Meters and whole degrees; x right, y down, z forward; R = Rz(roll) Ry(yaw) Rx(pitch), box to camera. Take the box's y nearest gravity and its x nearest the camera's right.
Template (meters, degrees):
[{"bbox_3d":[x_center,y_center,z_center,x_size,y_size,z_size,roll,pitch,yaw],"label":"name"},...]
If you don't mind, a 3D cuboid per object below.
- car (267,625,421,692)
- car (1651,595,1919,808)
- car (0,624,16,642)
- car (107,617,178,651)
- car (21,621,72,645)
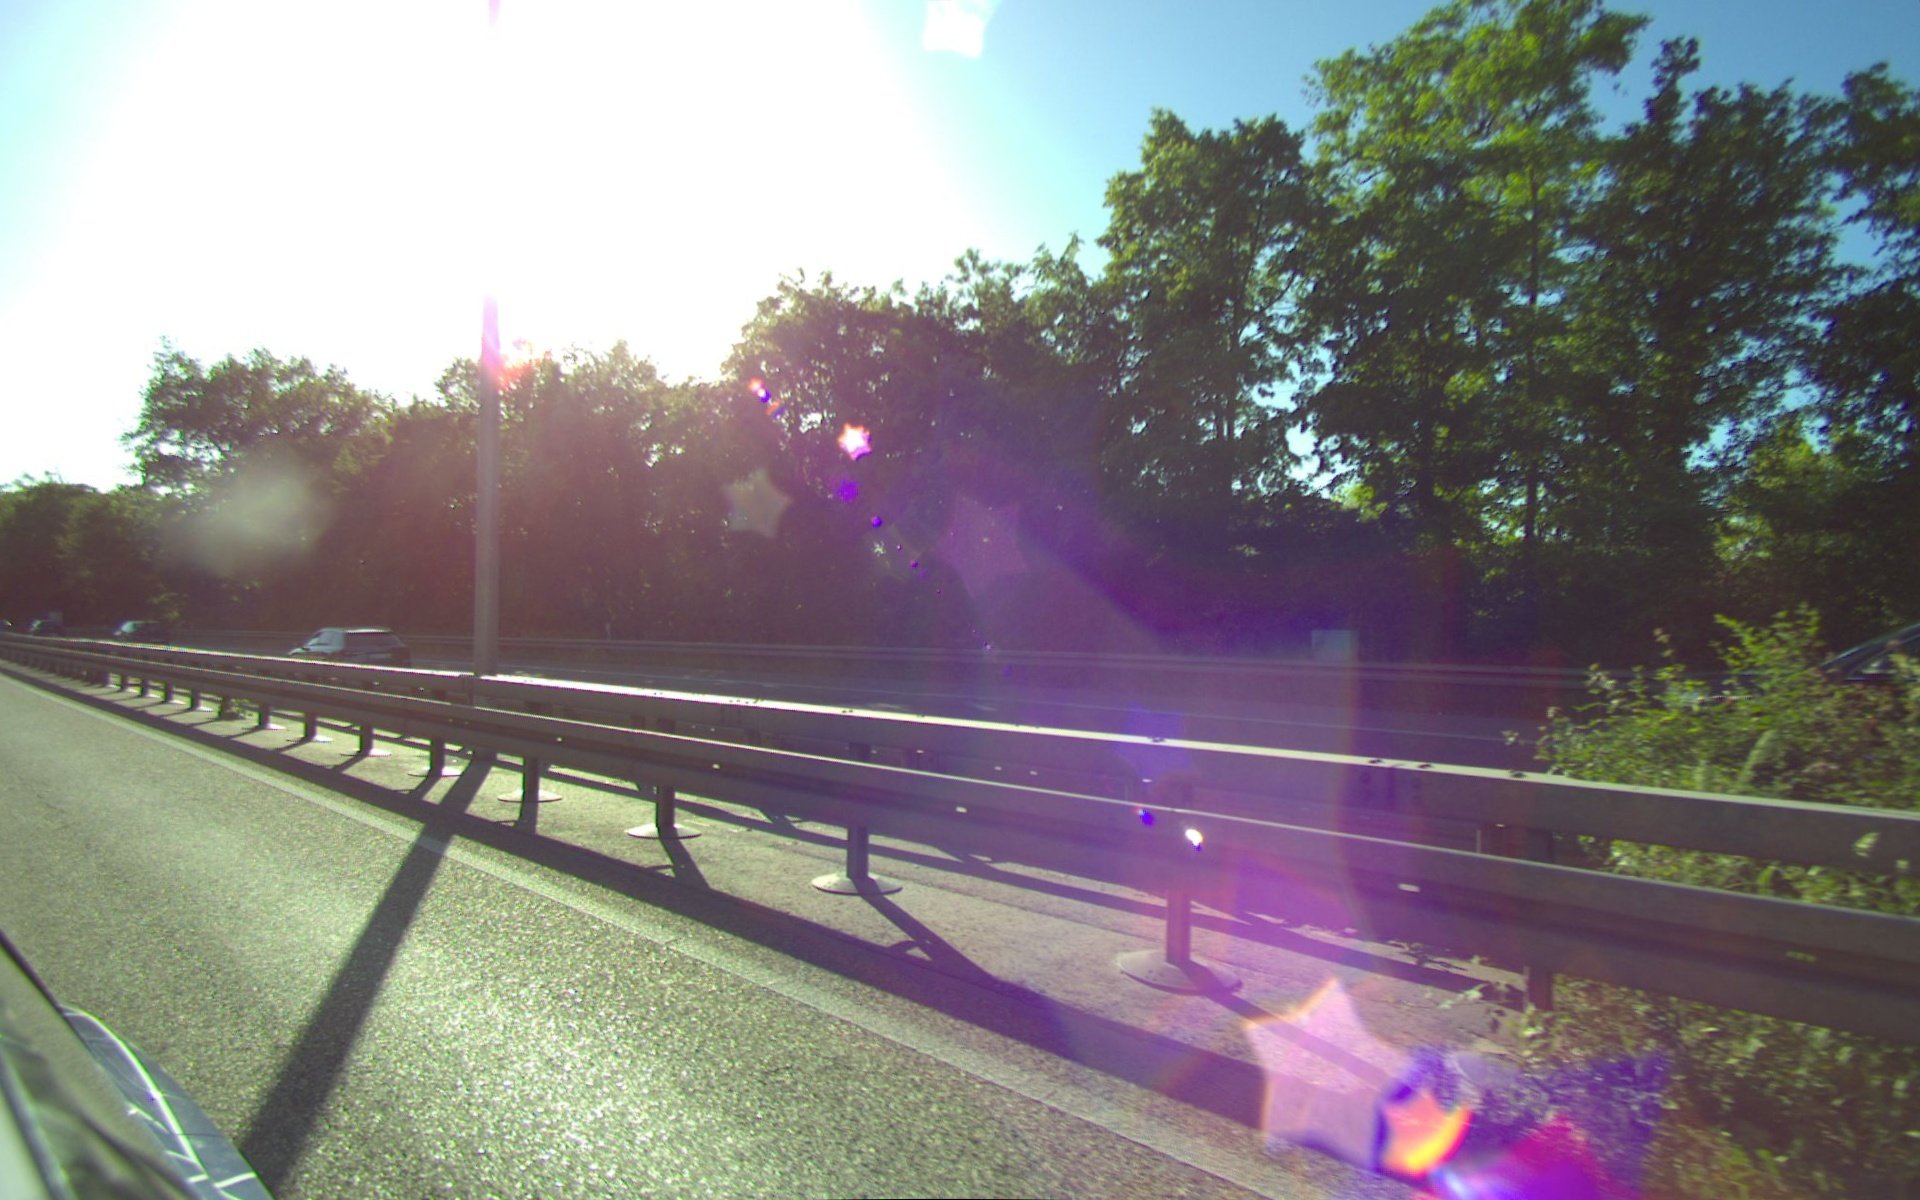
[{"bbox_3d":[-15.501,1.390,25.361,4.874,1.478,1.940,-1,-1,41],"label":"car"},{"bbox_3d":[8.885,0.816,8.631,4.742,1.737,1.940,-1,-1,41],"label":"car"},{"bbox_3d":[-81.893,2.788,85.805,4.980,1.478,2.051,-1,-1,39],"label":"car"},{"bbox_3d":[-45.434,1.844,56.164,5.873,1.738,2.097,-1,0,41],"label":"car"},{"bbox_3d":[-67.669,2.404,74.958,5.053,1.626,2.051,-1,0,39],"label":"car"}]
